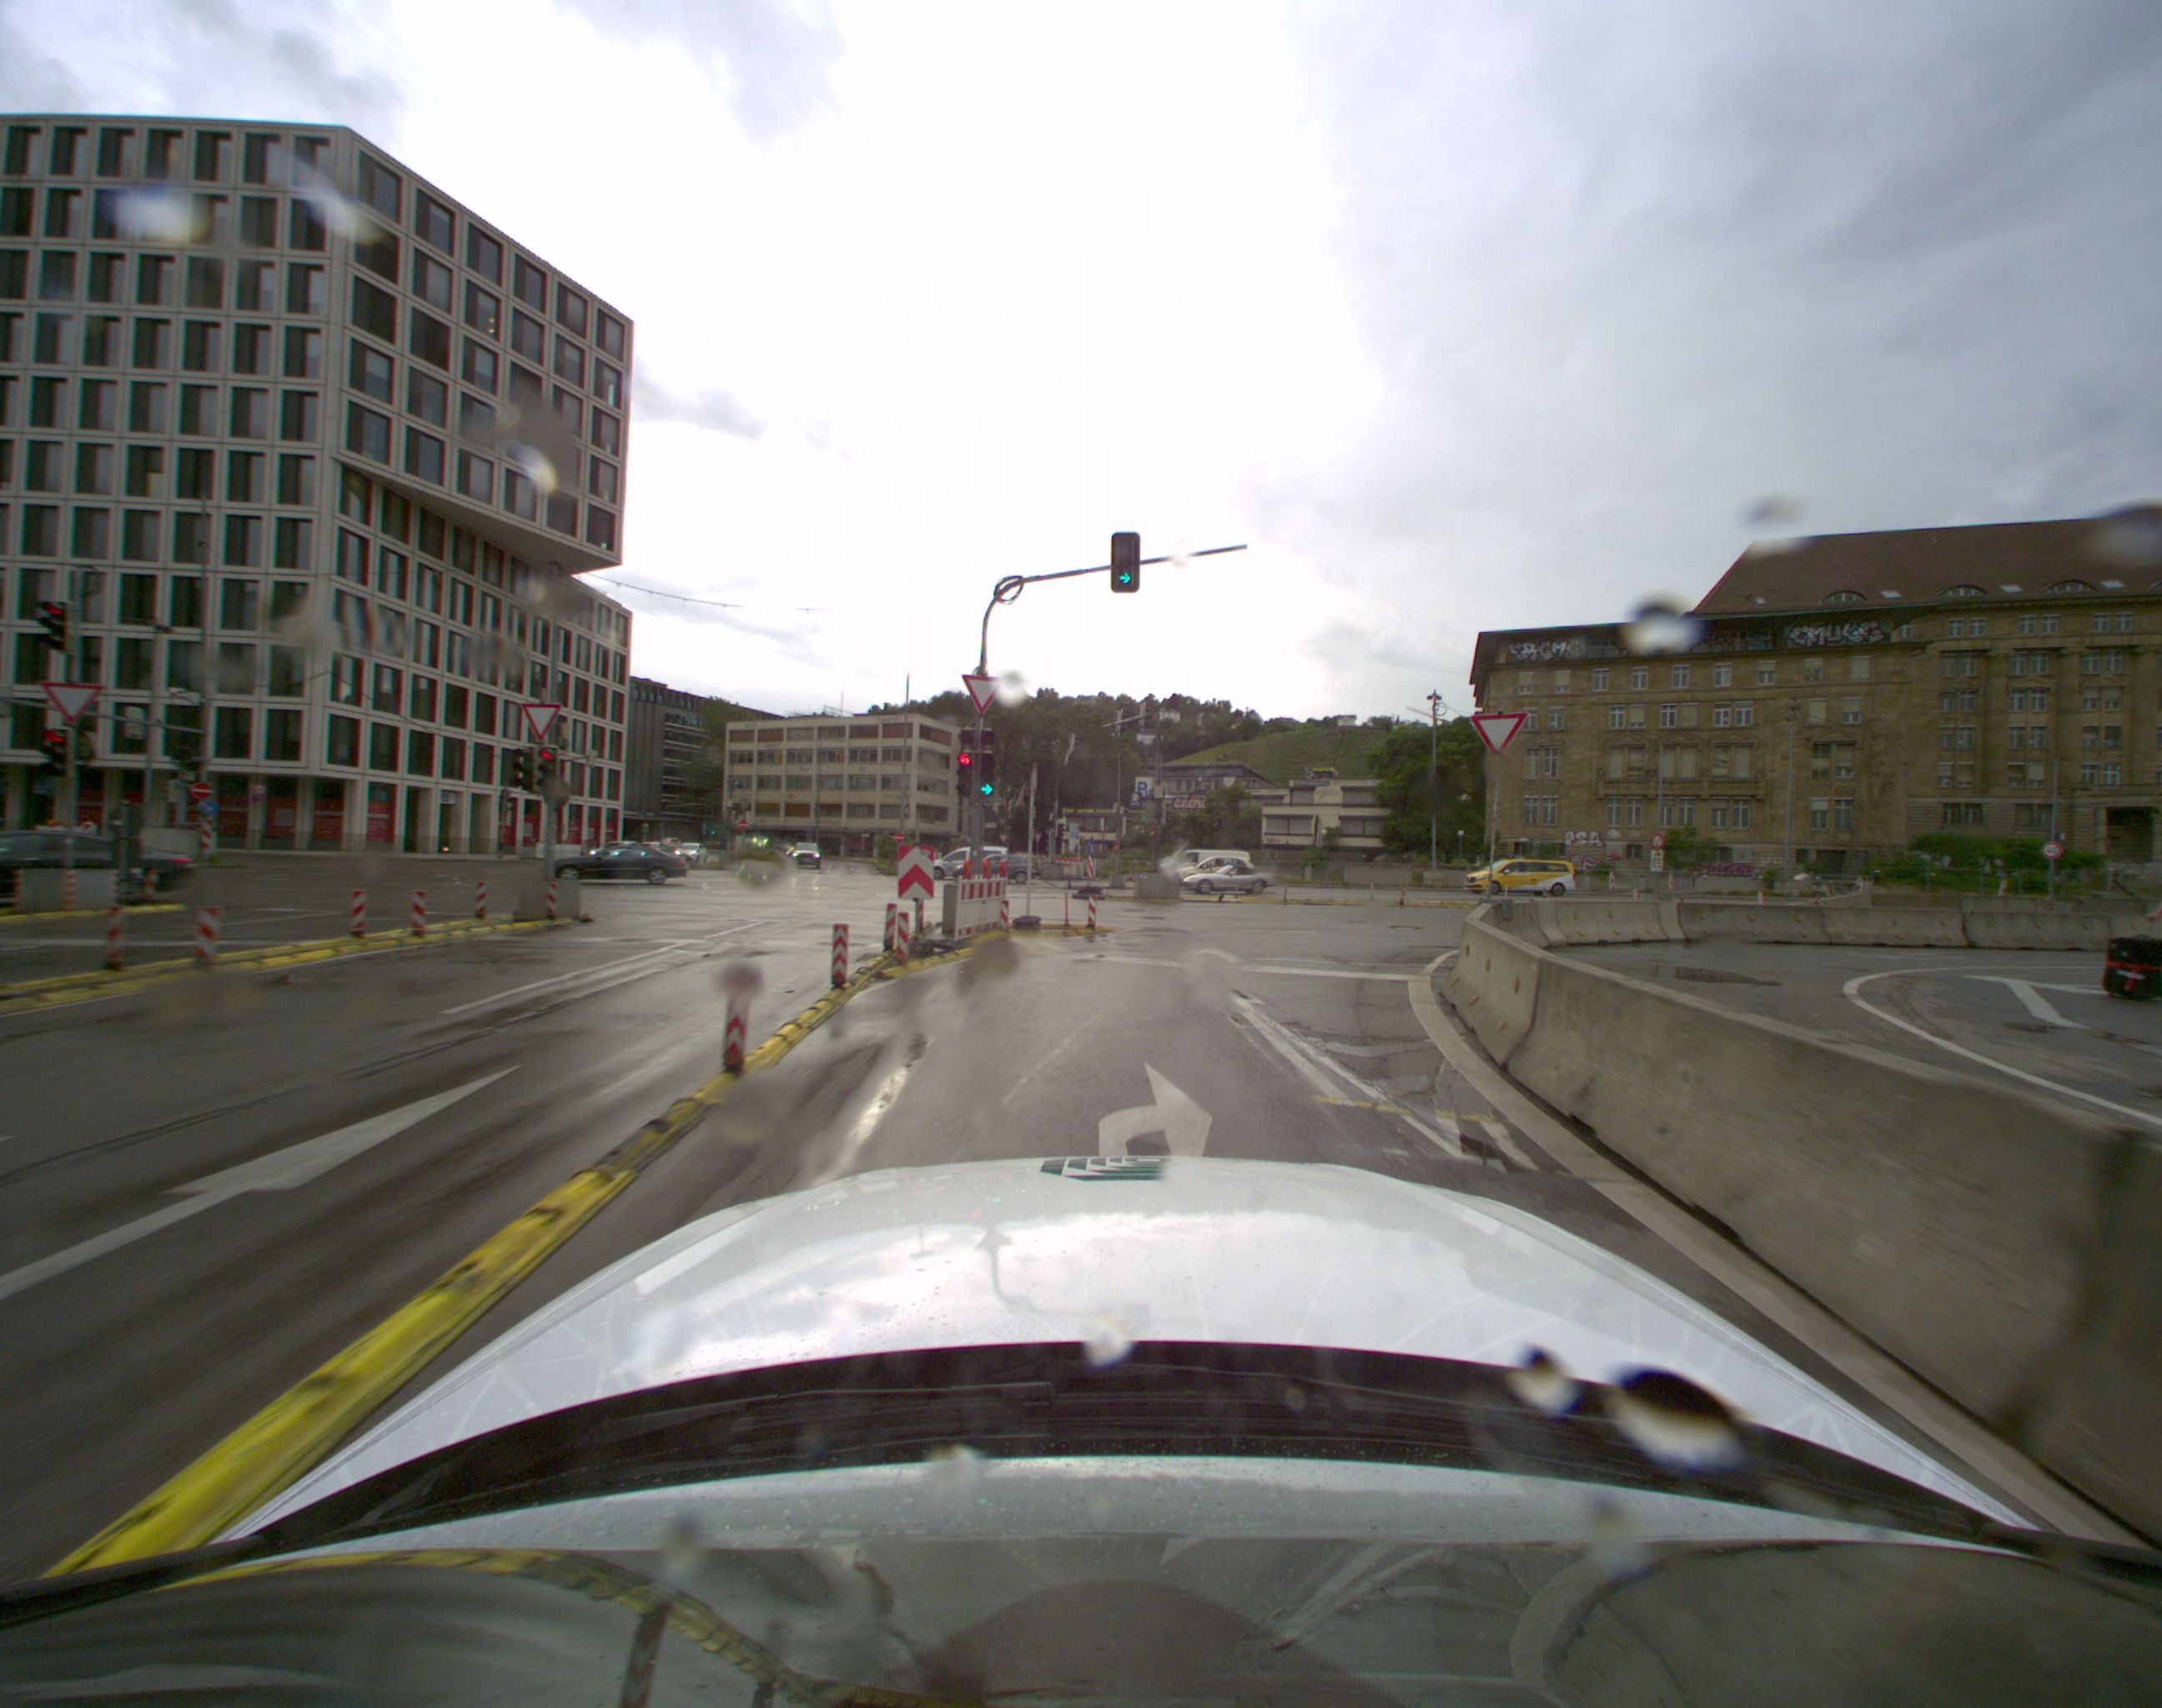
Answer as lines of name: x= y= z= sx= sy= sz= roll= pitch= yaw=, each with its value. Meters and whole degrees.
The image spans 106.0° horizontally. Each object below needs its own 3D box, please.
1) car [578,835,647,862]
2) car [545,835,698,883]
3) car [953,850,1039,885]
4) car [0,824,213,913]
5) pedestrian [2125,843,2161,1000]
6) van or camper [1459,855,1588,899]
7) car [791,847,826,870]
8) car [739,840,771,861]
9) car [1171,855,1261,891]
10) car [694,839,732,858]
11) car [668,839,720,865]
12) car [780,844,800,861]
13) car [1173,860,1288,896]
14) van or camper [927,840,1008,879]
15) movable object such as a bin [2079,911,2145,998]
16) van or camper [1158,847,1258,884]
car: x=-32.523 y=-0.350 z=56.678 sx=2.218 sy=1.753 sz=4.805 roll=1 pitch=0 yaw=-4
car: x=-16.565 y=0.209 z=29.542 sx=4.677 sy=1.598 sz=1.999 roll=2 pitch=0 yaw=-30
car: x=-4.278 y=0.669 z=41.259 sx=4.161 sy=1.598 sz=1.848 roll=2 pitch=0 yaw=-6
car: x=-20.173 y=0.235 z=15.401 sx=1.994 sy=1.598 sz=4.689 roll=2 pitch=0 yaw=24
pedestrian: x=13.411 y=0.818 z=9.746 sx=0.990 sy=1.865 sz=0.783 roll=2 pitch=0 yaw=44
van or camper: x=23.240 y=1.171 z=42.901 sx=5.574 sy=2.054 sz=2.245 roll=2 pitch=0 yaw=-2
car: x=-18.910 y=0.294 z=56.608 sx=1.831 sy=1.486 sz=3.984 roll=2 pitch=0 yaw=-12
car: x=-26.333 y=-0.285 z=65.731 sx=1.895 sy=1.557 sz=3.963 roll=1 pitch=0 yaw=-29
car: x=6.977 y=0.956 z=42.356 sx=4.352 sy=1.673 sz=1.848 roll=2 pitch=0 yaw=0
car: x=-44.844 y=-0.672 z=99.302 sx=3.952 sy=2.014 sz=2.011 roll=3 pitch=-1 yaw=24
car: x=-29.063 y=-0.179 z=61.301 sx=1.793 sy=1.815 sz=4.002 roll=2 pitch=0 yaw=2
car: x=-29.245 y=-0.142 z=81.951 sx=1.773 sy=1.574 sz=3.974 roll=4 pitch=-1 yaw=-19
car: x=6.228 y=1.004 z=34.221 sx=4.504 sy=1.309 sz=1.641 roll=2 pitch=0 yaw=-3
van or camper: x=-6.202 y=0.312 z=44.916 sx=4.235 sy=1.978 sz=1.848 roll=2 pitch=0 yaw=-6
movable object such as a bin: x=12.974 y=1.251 z=10.262 sx=0.426 sy=1.016 sz=0.525 roll=2 pitch=0 yaw=44
van or camper: x=7.026 y=0.636 z=45.436 sx=5.187 sy=1.894 sz=1.884 roll=2 pitch=0 yaw=-5
